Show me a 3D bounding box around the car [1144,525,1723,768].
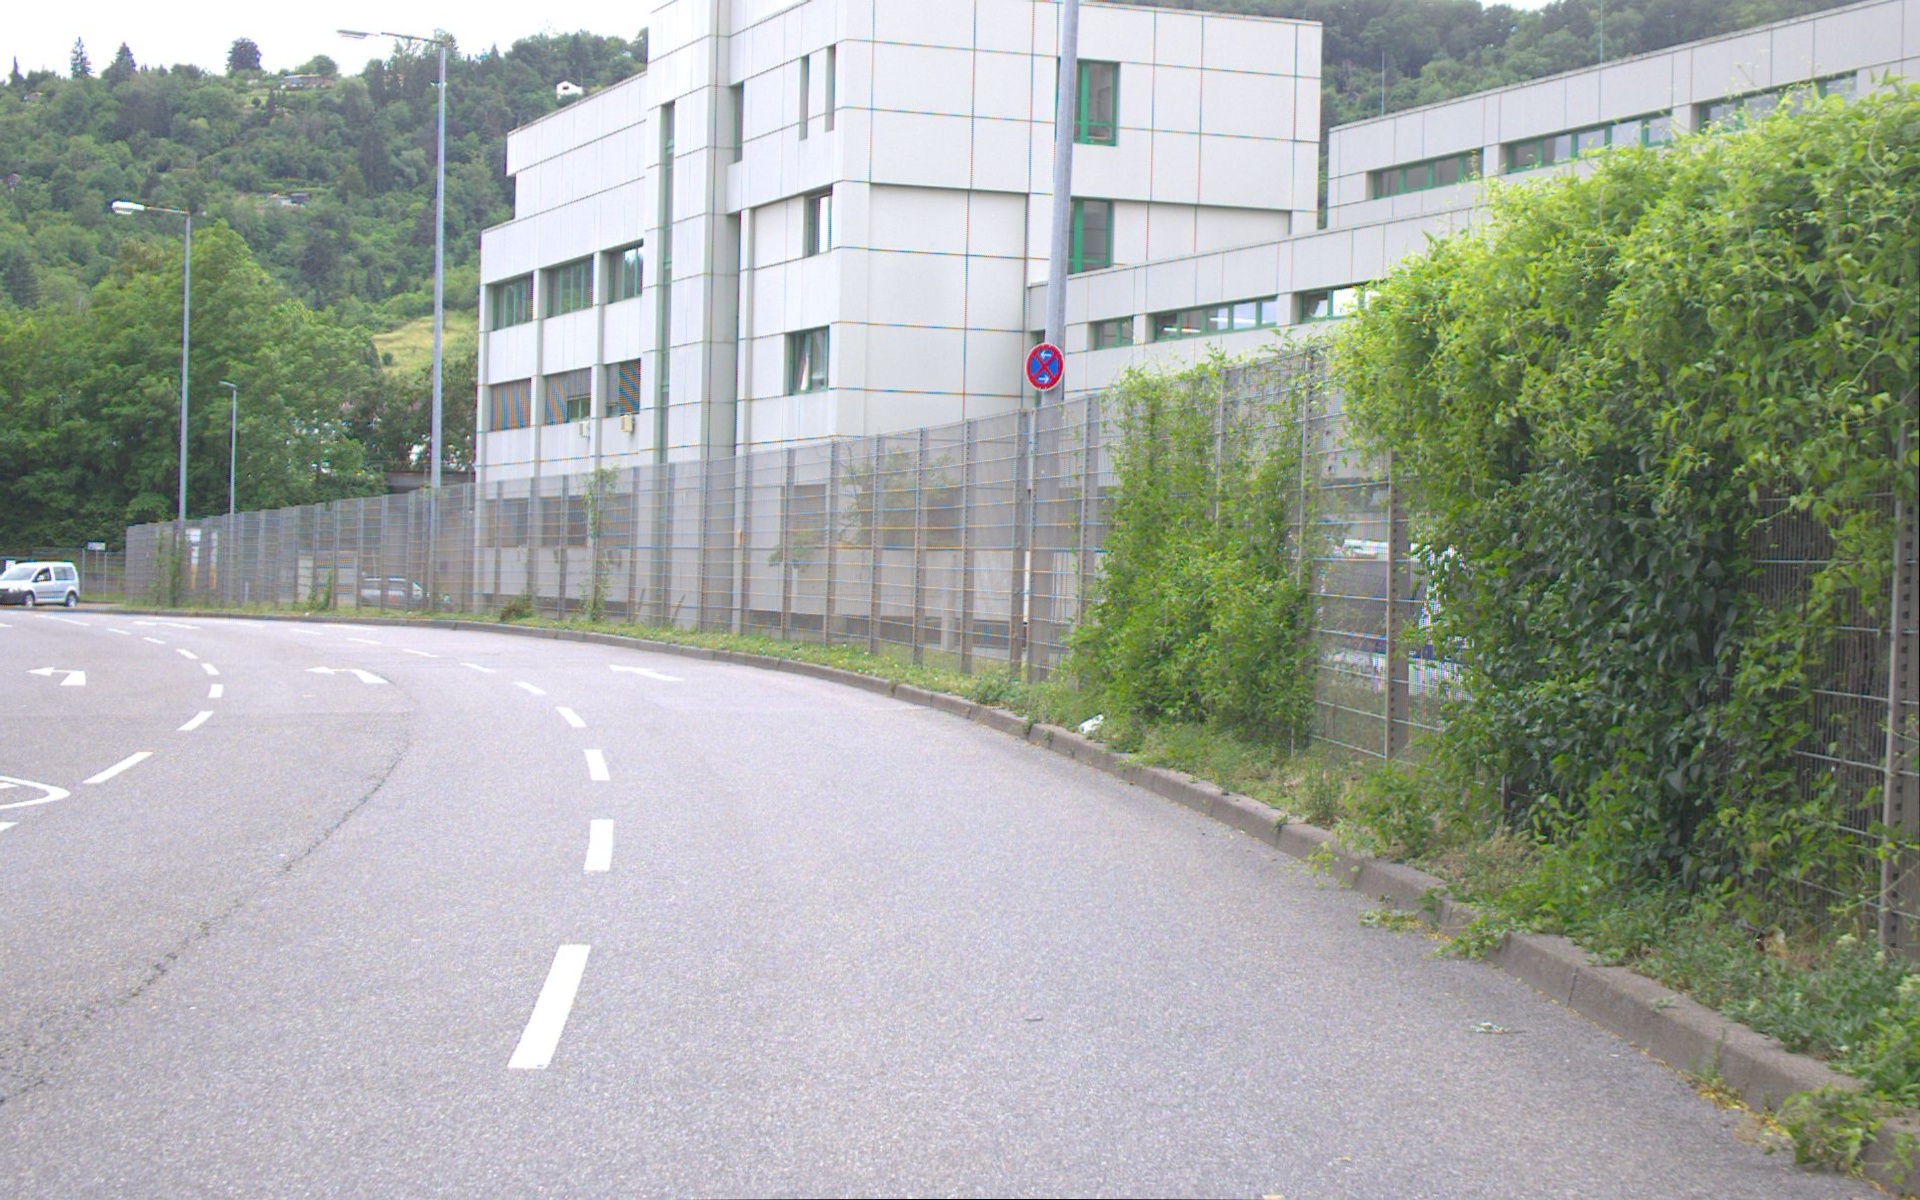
[{"bbox_3d":[4.790,0.418,35.830,1.994,2.255,6.168,2,0,-40],"label":"car"}]

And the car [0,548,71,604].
[{"bbox_3d":[-35.365,-0.916,129.926,1.994,2.007,4.130,2,0,6],"label":"car"}]
